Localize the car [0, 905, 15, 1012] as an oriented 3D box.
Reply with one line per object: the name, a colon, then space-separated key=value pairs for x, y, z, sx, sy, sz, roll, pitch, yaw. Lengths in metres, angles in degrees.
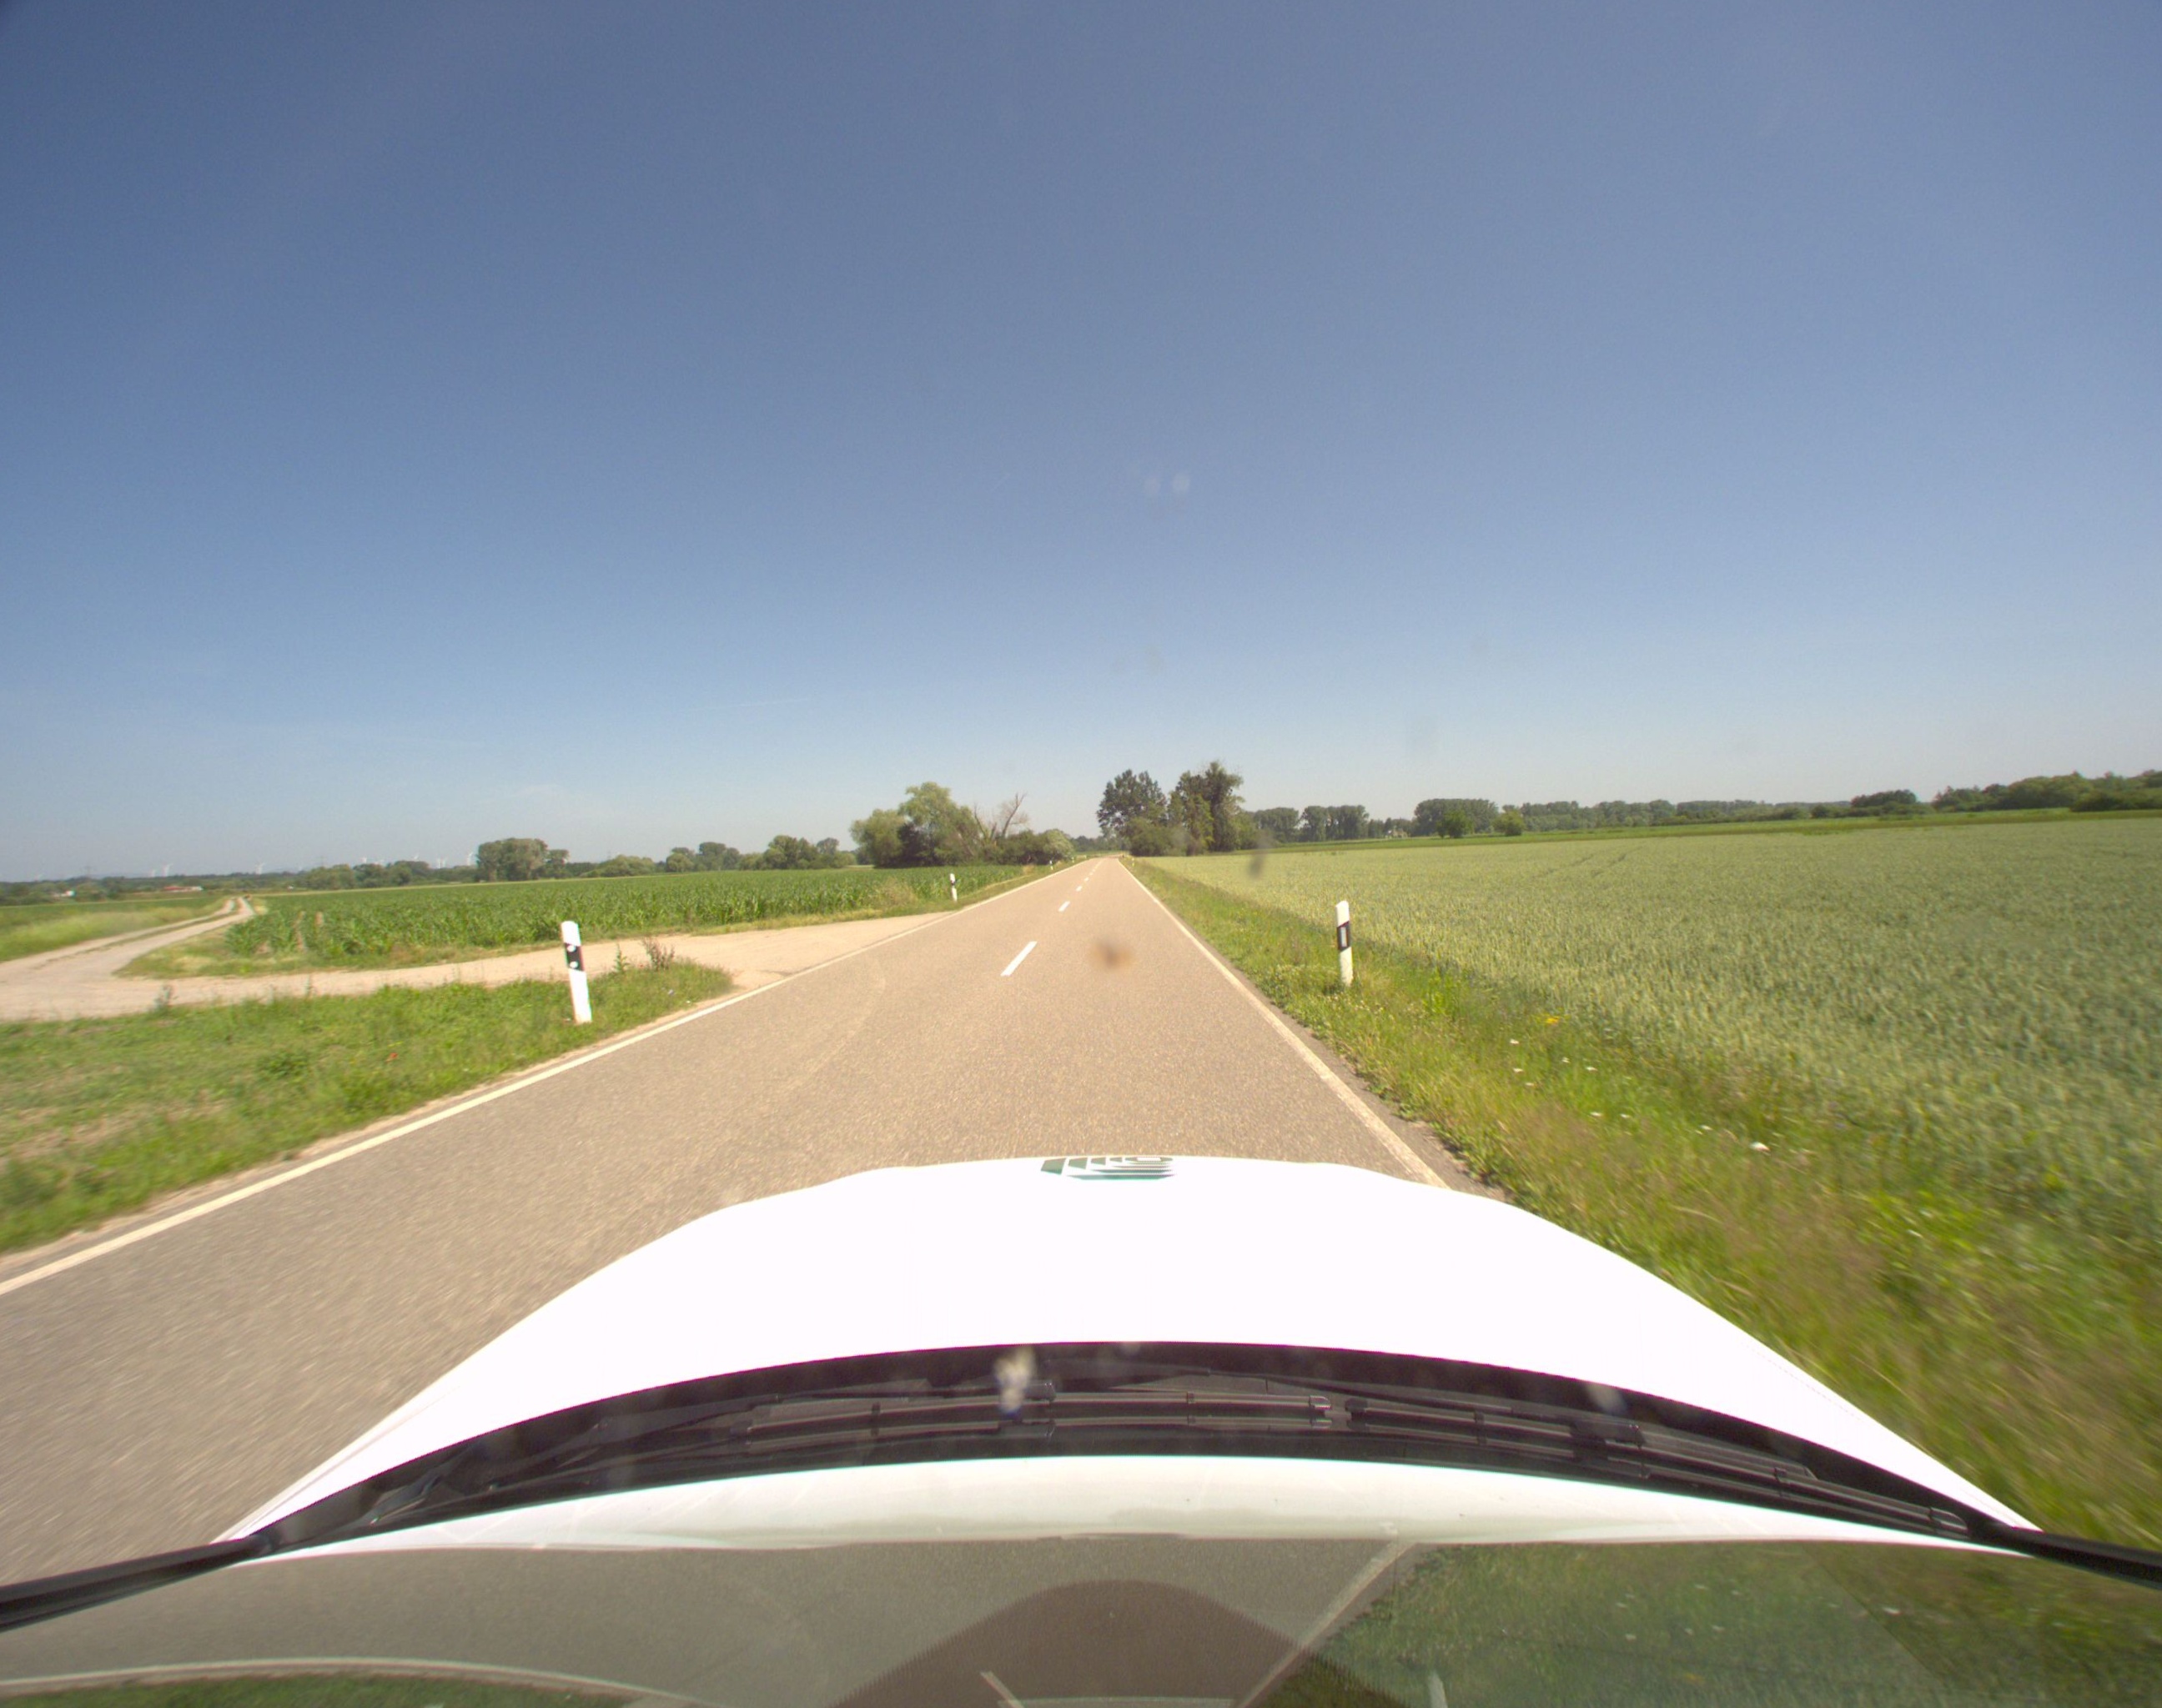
car: x=-18.605 y=1.724 z=11.175 sx=1.736 sy=1.651 sz=4.557 roll=-3 pitch=0 yaw=28
